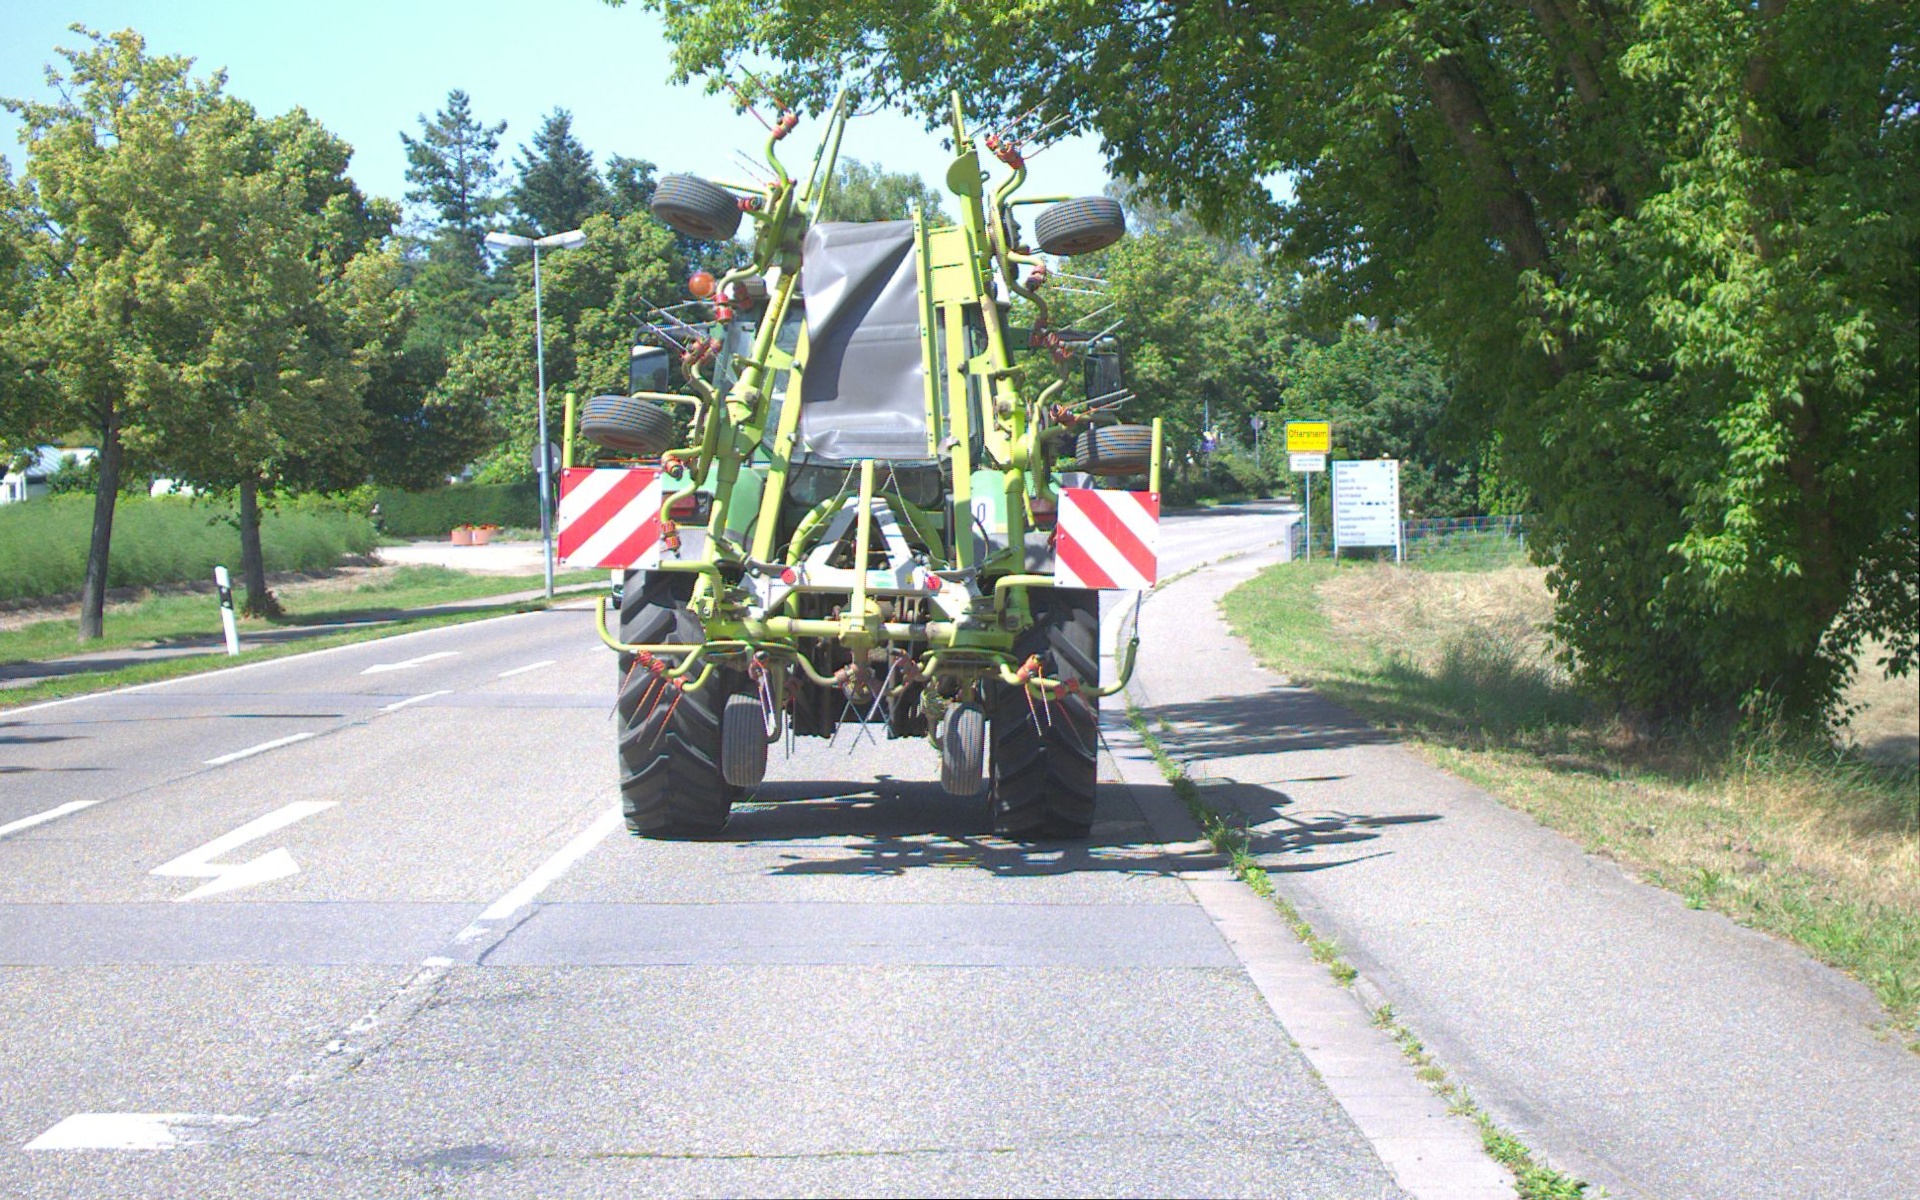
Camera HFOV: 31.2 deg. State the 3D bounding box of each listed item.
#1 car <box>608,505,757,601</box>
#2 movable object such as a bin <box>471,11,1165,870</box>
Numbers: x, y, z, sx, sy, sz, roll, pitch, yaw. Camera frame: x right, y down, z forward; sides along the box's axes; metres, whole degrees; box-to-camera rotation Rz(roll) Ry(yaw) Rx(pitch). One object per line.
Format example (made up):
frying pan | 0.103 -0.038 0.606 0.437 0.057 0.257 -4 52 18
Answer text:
car | -4.408 -0.783 55.064 1.649 1.429 3.896 2 2 6
movable object such as a bin | -0.713 -0.788 19.022 2.852 3.529 9.702 0 2 -2
